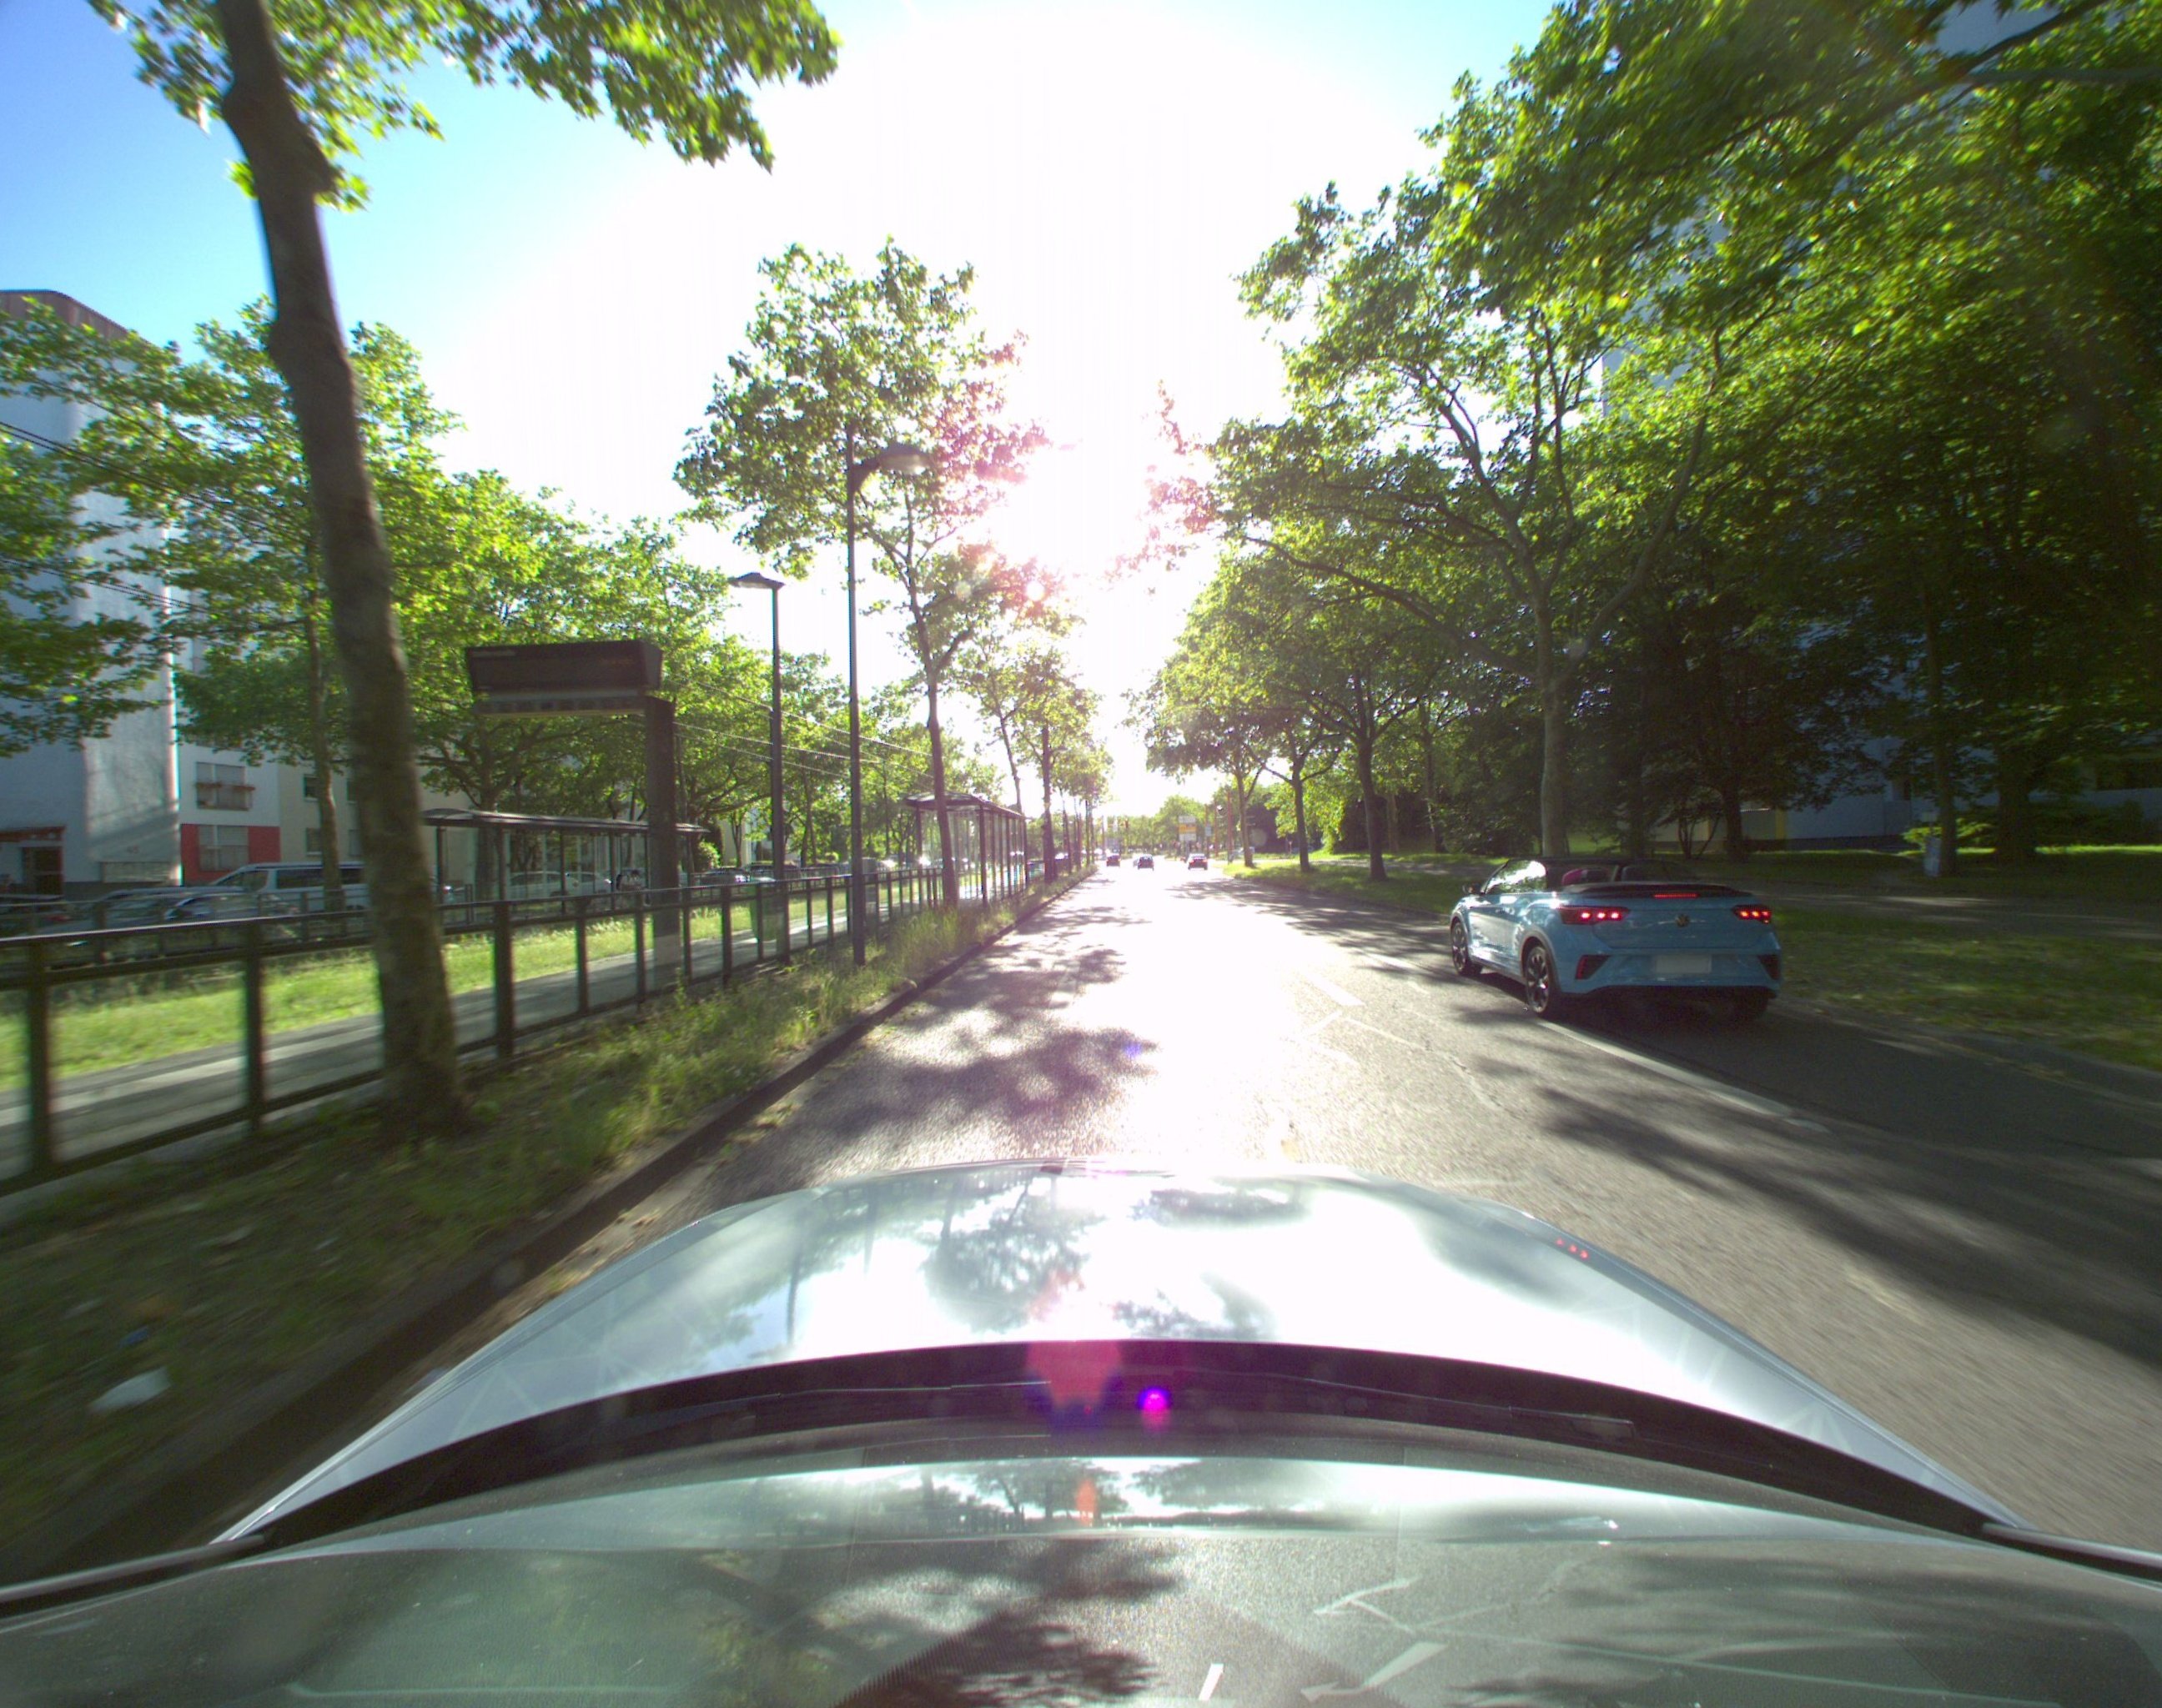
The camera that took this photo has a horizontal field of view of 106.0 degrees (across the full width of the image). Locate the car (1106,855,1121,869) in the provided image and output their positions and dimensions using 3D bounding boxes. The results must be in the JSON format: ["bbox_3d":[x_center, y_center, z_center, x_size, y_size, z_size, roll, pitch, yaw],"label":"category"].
[{"bbox_3d":[3.685,0.895,92.705,1.704,1.603,3.351,-1,-1,1],"label":"car"}]

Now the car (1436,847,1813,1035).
[{"bbox_3d":[5.223,0.698,8.577,1.765,1.483,4.111,-1,0,10],"label":"car"}]

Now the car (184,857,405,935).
[{"bbox_3d":[-23.086,1.139,24.202,4.520,2.063,1.879,0,1,-37],"label":"car"}]

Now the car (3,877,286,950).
[{"bbox_3d":[-23.720,1.432,20.954,4.523,1.497,1.878,0,1,-40],"label":"car"}]

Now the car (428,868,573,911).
[{"bbox_3d":[-23.503,1.381,33.104,1.876,1.504,4.527,0,1,43],"label":"car"}]

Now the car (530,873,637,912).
[{"bbox_3d":[-23.599,1.793,38.756,1.556,1.568,4.084,1,2,43],"label":"car"}]

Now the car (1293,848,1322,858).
[{"bbox_3d":[37.958,-0.186,136.628,4.311,1.559,1.883,-1,-1,27],"label":"car"}]

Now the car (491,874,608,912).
[{"bbox_3d":[-23.414,1.680,35.963,1.556,1.432,4.084,0,1,43],"label":"car"}]

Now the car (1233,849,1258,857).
[{"bbox_3d":[28.646,-0.089,141.617,3.949,1.338,1.739,-1,-1,28],"label":"car"}]

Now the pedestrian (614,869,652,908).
[{"bbox_3d":[-13.648,1.050,24.802,0.692,1.127,0.662,-5,-1,3],"label":"pedestrian"}]

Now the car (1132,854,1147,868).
[{"bbox_3d":[6.626,0.782,93.128,1.671,1.475,4.134,-1,-1,3],"label":"car"}]

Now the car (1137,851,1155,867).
[{"bbox_3d":[6.313,0.446,79.337,1.633,1.494,3.504,0,0,1],"label":"car"}]

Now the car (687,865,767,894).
[{"bbox_3d":[-21.757,1.537,50.115,1.626,1.544,4.201,0,1,43],"label":"car"}]

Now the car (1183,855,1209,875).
[{"bbox_3d":[10.742,1.009,76.282,1.974,1.792,4.616,0,0,2],"label":"car"}]

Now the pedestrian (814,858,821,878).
[{"bbox_3d":[-24.426,1.286,75.514,0.473,1.792,0.718,0,-1,1],"label":"pedestrian"}]

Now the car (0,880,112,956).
[{"bbox_3d":[-24.418,1.409,17.382,4.523,1.497,1.878,0,1,-40],"label":"car"}]

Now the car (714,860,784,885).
[{"bbox_3d":[-22.120,1.191,54.341,4.014,1.544,1.627,-1,1,-40],"label":"car"}]

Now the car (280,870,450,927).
[{"bbox_3d":[-23.479,1.403,26.866,4.082,1.610,1.669,-1,1,-42],"label":"car"}]

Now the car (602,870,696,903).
[{"bbox_3d":[-22.607,1.656,42.705,1.556,1.473,4.084,0,1,43],"label":"car"}]
